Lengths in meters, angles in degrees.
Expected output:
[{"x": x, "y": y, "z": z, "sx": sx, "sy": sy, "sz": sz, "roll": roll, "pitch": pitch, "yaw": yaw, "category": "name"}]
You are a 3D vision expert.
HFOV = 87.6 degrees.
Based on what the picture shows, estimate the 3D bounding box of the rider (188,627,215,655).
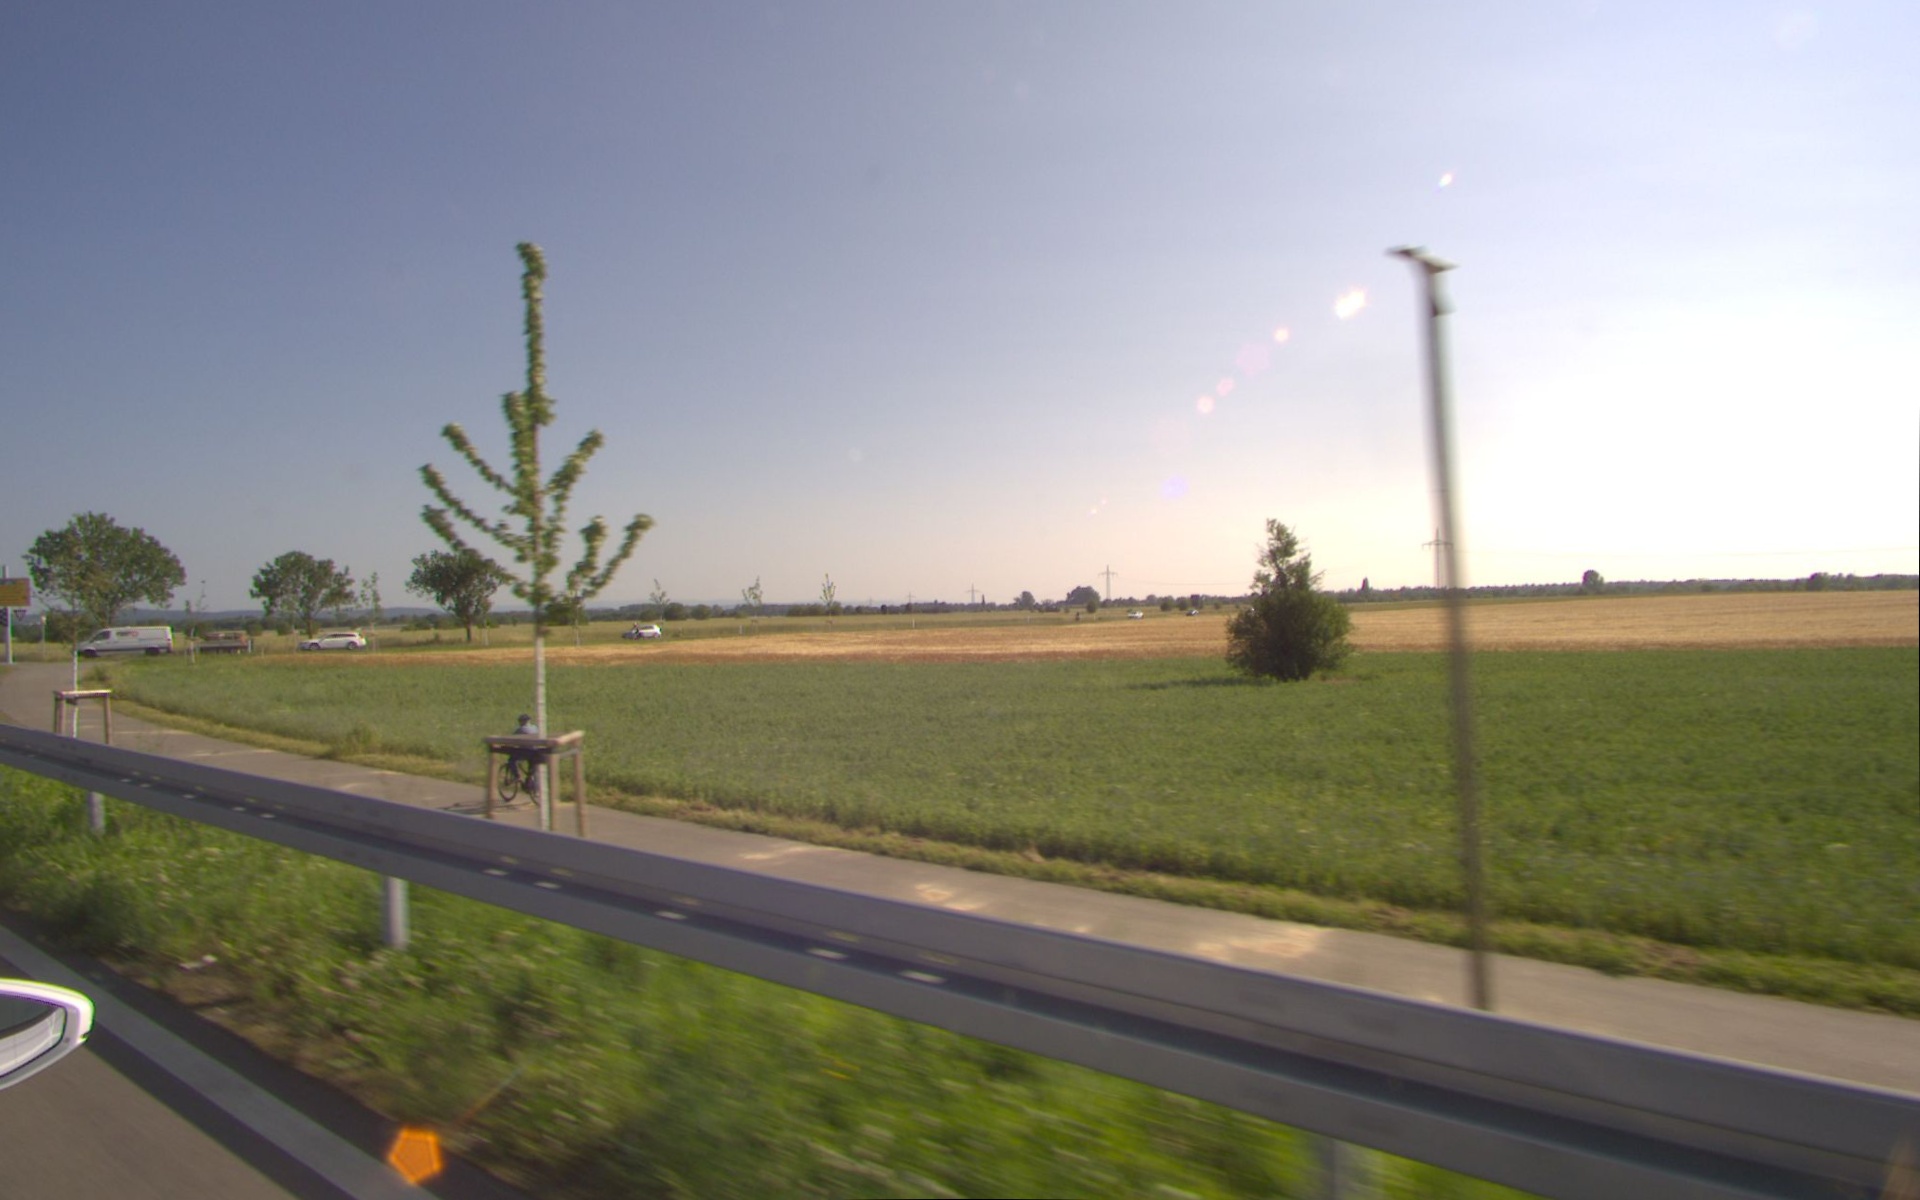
[{"x": -46.577, "y": 2.526, "z": 61.473, "sx": 0.972, "sy": 1.665, "sz": 0.821, "roll": -1, "pitch": 1, "yaw": 5, "category": "rider"}]

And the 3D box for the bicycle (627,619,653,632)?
[{"x": -30.077, "y": 2.407, "z": 94.005, "sx": 2.140, "sy": 1.201, "sz": 0.882, "roll": 0, "pitch": -2, "yaw": -41, "category": "bicycle"}]

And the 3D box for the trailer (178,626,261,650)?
[{"x": -58.953, "y": 3.004, "z": 79.784, "sx": 5.216, "sy": 1.775, "sz": 1.939, "roll": -1, "pitch": -1, "yaw": -39, "category": "trailer"}]

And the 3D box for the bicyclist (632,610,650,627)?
[{"x": -29.906, "y": 1.733, "z": 93.954, "sx": 1.269, "sy": 1.622, "sz": 1.155, "roll": 0, "pitch": 0, "yaw": -41, "category": "bicyclist"}]

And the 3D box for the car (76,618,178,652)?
[{"x": -63.321, "y": 2.667, "z": 76.301, "sx": 5.907, "sy": 2.524, "sz": 1.985, "roll": 1, "pitch": -3, "yaw": -38, "category": "car"}]

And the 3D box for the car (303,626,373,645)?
[{"x": -52.898, "y": 3.026, "z": 85.153, "sx": 4.833, "sy": 1.529, "sz": 1.983, "roll": 1, "pitch": -3, "yaw": -41, "category": "car"}]
